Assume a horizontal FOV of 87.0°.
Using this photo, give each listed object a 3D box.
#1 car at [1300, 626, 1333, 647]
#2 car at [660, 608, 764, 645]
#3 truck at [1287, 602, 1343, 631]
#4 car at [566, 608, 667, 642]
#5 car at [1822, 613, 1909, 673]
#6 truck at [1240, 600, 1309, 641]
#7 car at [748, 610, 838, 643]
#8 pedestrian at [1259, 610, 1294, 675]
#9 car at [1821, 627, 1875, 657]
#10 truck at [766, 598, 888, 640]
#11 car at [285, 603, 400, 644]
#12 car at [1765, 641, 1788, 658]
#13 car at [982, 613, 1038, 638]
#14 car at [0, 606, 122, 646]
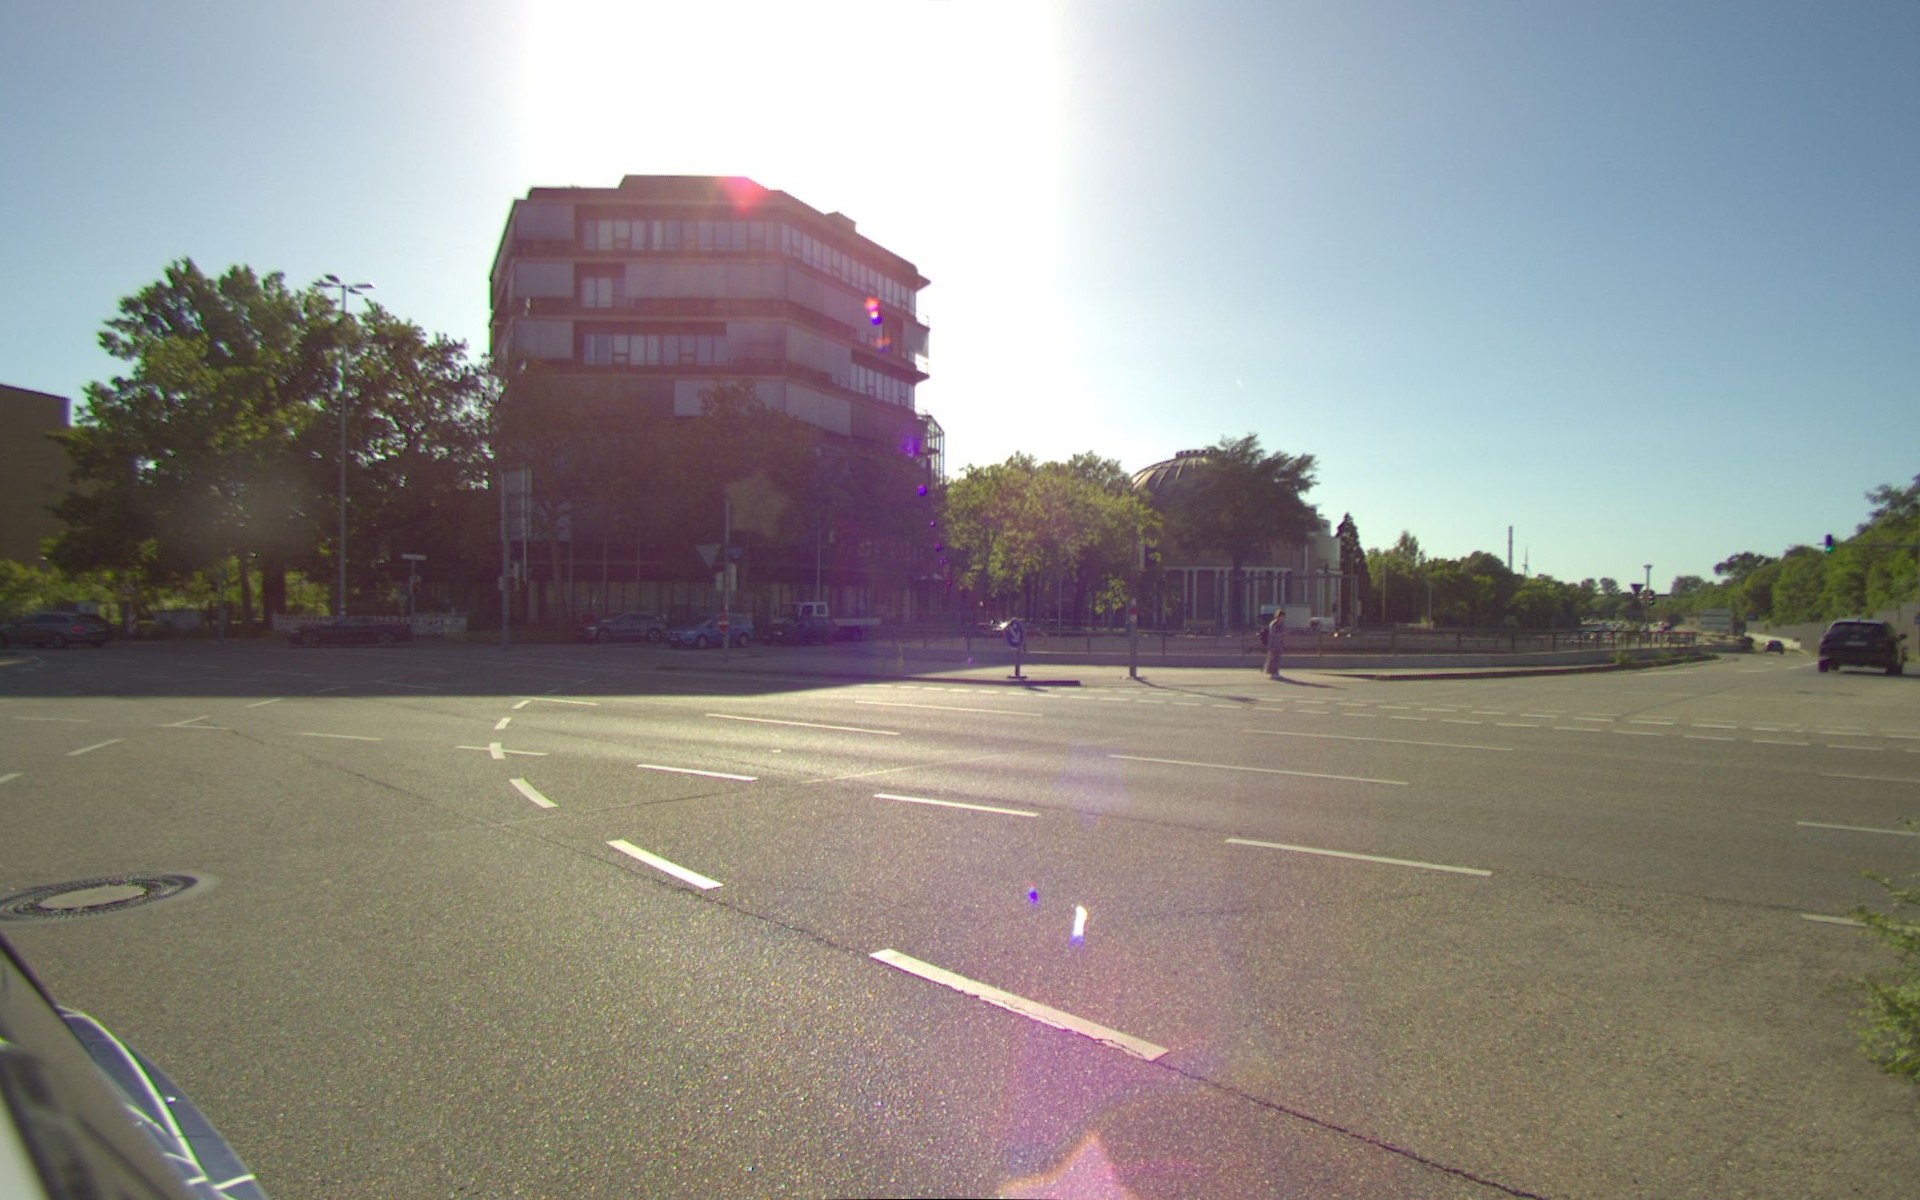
[{"bbox_3d":[34.382,3.494,97.530,1.738,1.696,4.000,2,2,38],"label":"car"},{"bbox_3d":[-11.050,1.156,45.321,1.946,1.552,4.407,0,-1,34],"label":"car"},{"bbox_3d":[39.182,1.775,111.601,3.846,3.039,7.655,-1,0,36],"label":"truck"},{"bbox_3d":[-17.259,1.236,50.939,4.440,1.657,1.882,1,-1,-43],"label":"car"},{"bbox_3d":[28.099,1.282,31.369,1.881,1.722,4.136,-1,-1,44],"label":"car"},{"bbox_3d":[31.754,1.987,101.779,3.846,3.825,9.230,-1,0,36],"label":"truck"},{"bbox_3d":[-8.222,1.275,50.245,1.946,1.552,4.407,0,-1,34],"label":"car"},{"bbox_3d":[7.311,0.970,23.420,0.695,1.474,0.678,0,-1,12],"label":"pedestrian"},{"bbox_3d":[48.141,2.232,54.927,1.998,1.519,3.947,-1,-1,39],"label":"car"},{"bbox_3d":[-7.862,1.106,60.560,7.402,2.378,2.166,1,-1,-44],"label":"truck"},{"bbox_3d":[-26.355,0.983,43.374,4.124,1.713,1.821,0,-1,-29],"label":"car"},{"bbox_3d":[92.541,5.602,114.709,1.924,1.657,4.448,-1,-1,40],"label":"car"},{"bbox_3d":[3.636,1.805,72.803,1.815,1.713,4.137,-1,-1,43],"label":"car"},{"bbox_3d":[-37.510,1.113,41.909,4.458,1.368,1.875,-3,-4,9],"label":"car"}]
